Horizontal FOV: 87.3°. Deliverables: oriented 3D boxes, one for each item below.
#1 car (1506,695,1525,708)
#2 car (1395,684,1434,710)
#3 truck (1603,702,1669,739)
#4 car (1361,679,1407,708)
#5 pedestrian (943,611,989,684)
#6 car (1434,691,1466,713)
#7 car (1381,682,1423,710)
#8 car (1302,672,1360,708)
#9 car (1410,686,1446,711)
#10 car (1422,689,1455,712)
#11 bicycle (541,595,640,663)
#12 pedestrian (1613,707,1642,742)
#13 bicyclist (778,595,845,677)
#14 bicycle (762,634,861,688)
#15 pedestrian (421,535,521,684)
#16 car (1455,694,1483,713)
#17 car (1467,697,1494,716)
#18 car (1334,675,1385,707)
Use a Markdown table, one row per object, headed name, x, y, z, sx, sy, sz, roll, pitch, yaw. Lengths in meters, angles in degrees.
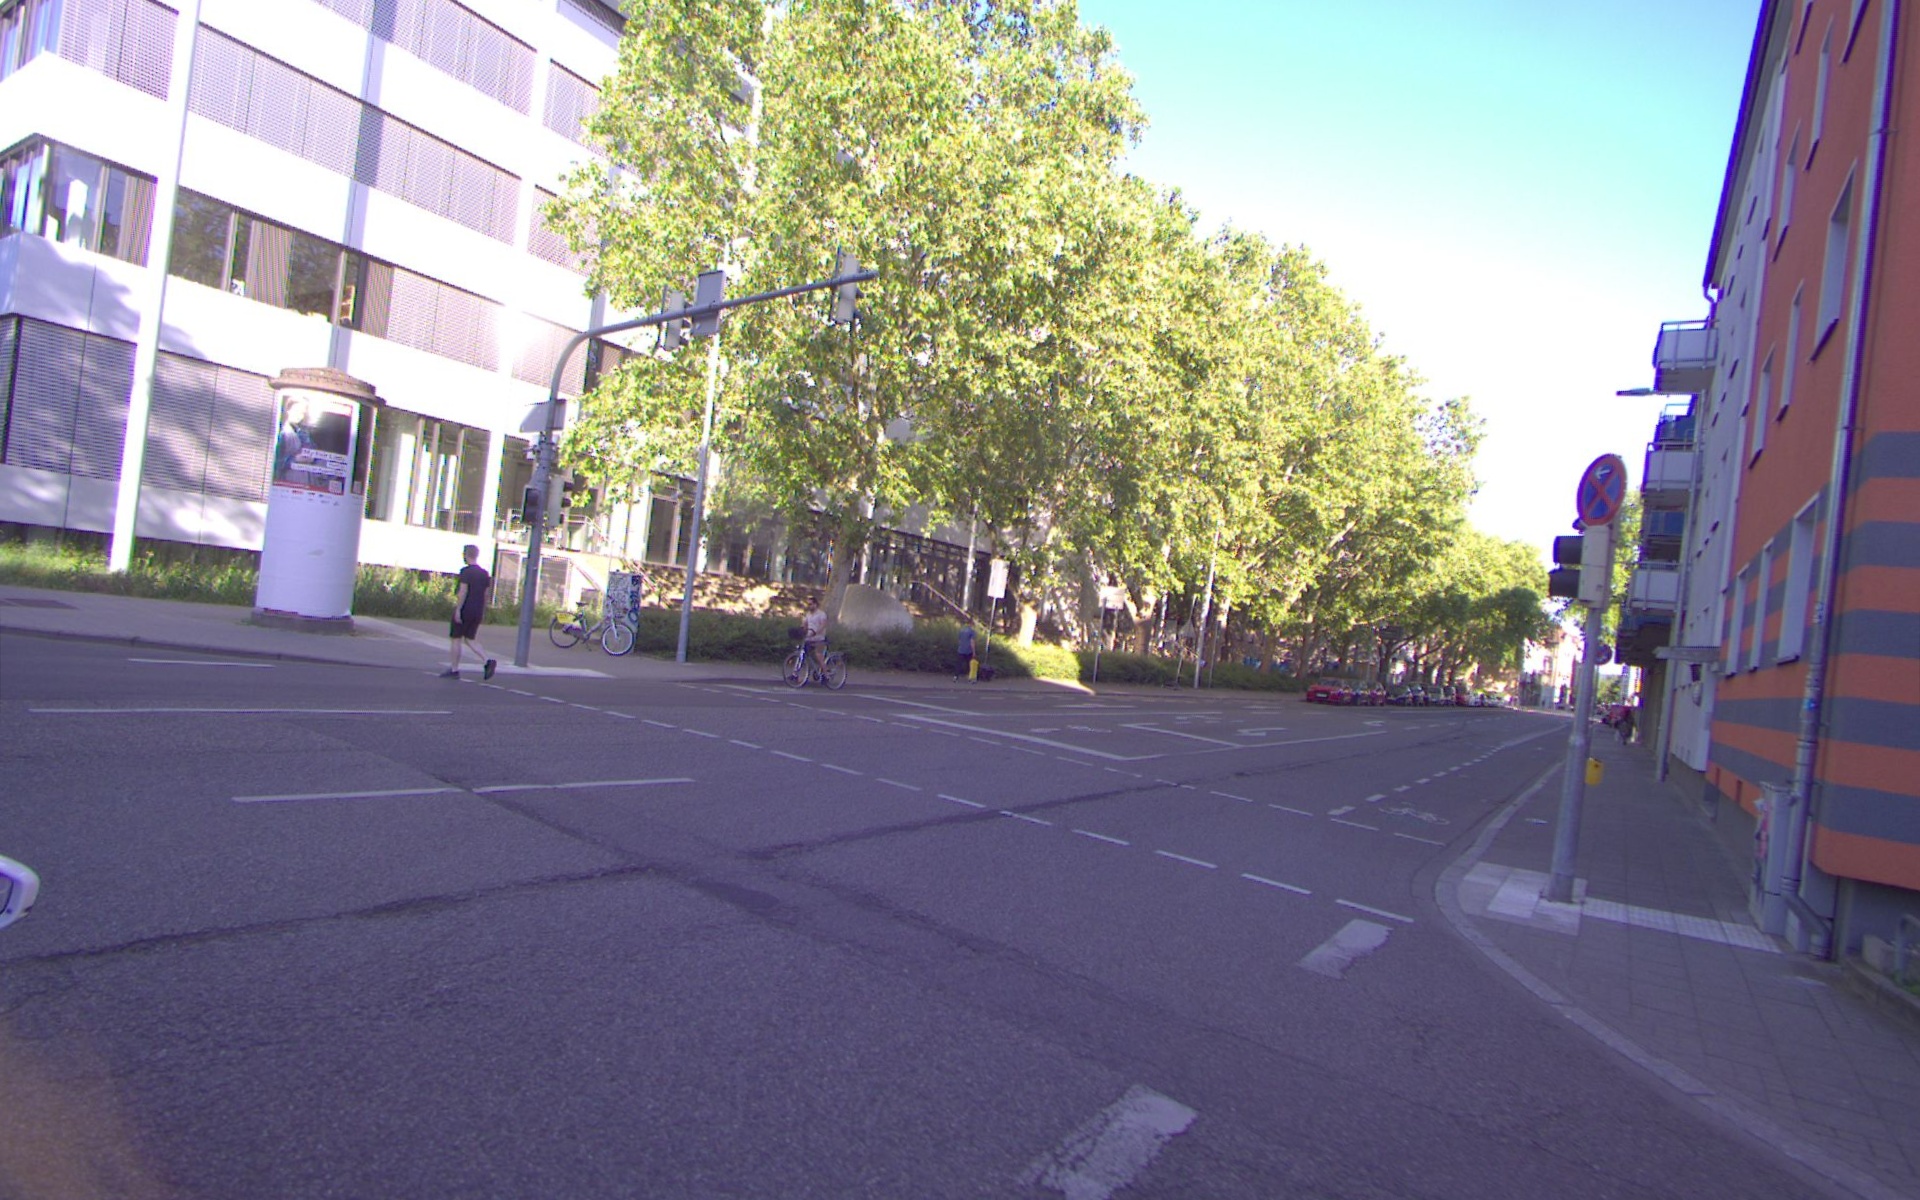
| name | x | y | z | sx | sy | sz | roll | pitch | yaw |
| --- | --- | --- | --- | --- | --- | --- | --- | --- | --- |
| car | 77.679 | 14.239 | 140.688 | 1.861 | 1.563 | 3.992 | 6 | -2 | 34 |
| car | 33.400 | 7.121 | 73.816 | 1.861 | 1.563 | 3.992 | 6 | -2 | 34 |
| truck | 56.786 | 10.112 | 84.607 | 4.374 | 2.473 | 1.800 | 6 | -3 | 34 |
| car | 26.987 | 5.966 | 64.005 | 1.861 | 1.563 | 3.992 | 6 | -2 | 34 |
| pedestrian | 0.169 | 1.301 | 27.373 | 0.696 | 1.860 | 0.837 | 7 | -2 | 26 |
| car | 43.097 | 8.975 | 88.485 | 1.861 | 1.563 | 3.992 | 6 | -2 | 34 |
| car | 30.643 | 6.658 | 69.712 | 1.861 | 1.563 | 3.992 | 6 | -2 | 34 |
| car | 19.692 | 4.780 | 53.311 | 1.861 | 1.563 | 3.992 | 6 | -2 | 34 |
| car | 36.301 | 7.653 | 77.990 | 1.861 | 1.563 | 3.992 | 6 | -2 | 34 |
| car | 40.073 | 8.430 | 84.205 | 1.861 | 1.563 | 3.992 | 6 | -2 | 34 |
| bicycle | -7.272 | 0.563 | 19.829 | 1.656 | 1.062 | 0.508 | 9 | 1 | 5 |
| pedestrian | 29.408 | 5.484 | 44.321 | 0.933 | 1.410 | 0.952 | 7 | -1 | 34 |
| bicyclist | -2.972 | 0.734 | 20.248 | 0.736 | 1.507 | 0.953 | 7 | 0 | 31 |
| bicycle | -2.965 | 1.258 | 20.377 | 0.719 | 0.938 | 2.115 | 7 | -1 | 31 |
| pedestrian | -6.553 | 0.126 | 13.490 | 0.825 | 1.860 | 0.707 | 7 | -2 | 40 |
| car | 49.044 | 9.992 | 96.885 | 1.861 | 1.563 | 3.992 | 6 | -2 | 34 |
| car | 52.877 | 10.832 | 102.194 | 1.861 | 1.563 | 3.992 | 6 | -2 | 34 |
| car | 23.608 | 5.401 | 59.373 | 1.861 | 1.563 | 3.992 | 6 | -2 | 34 |
